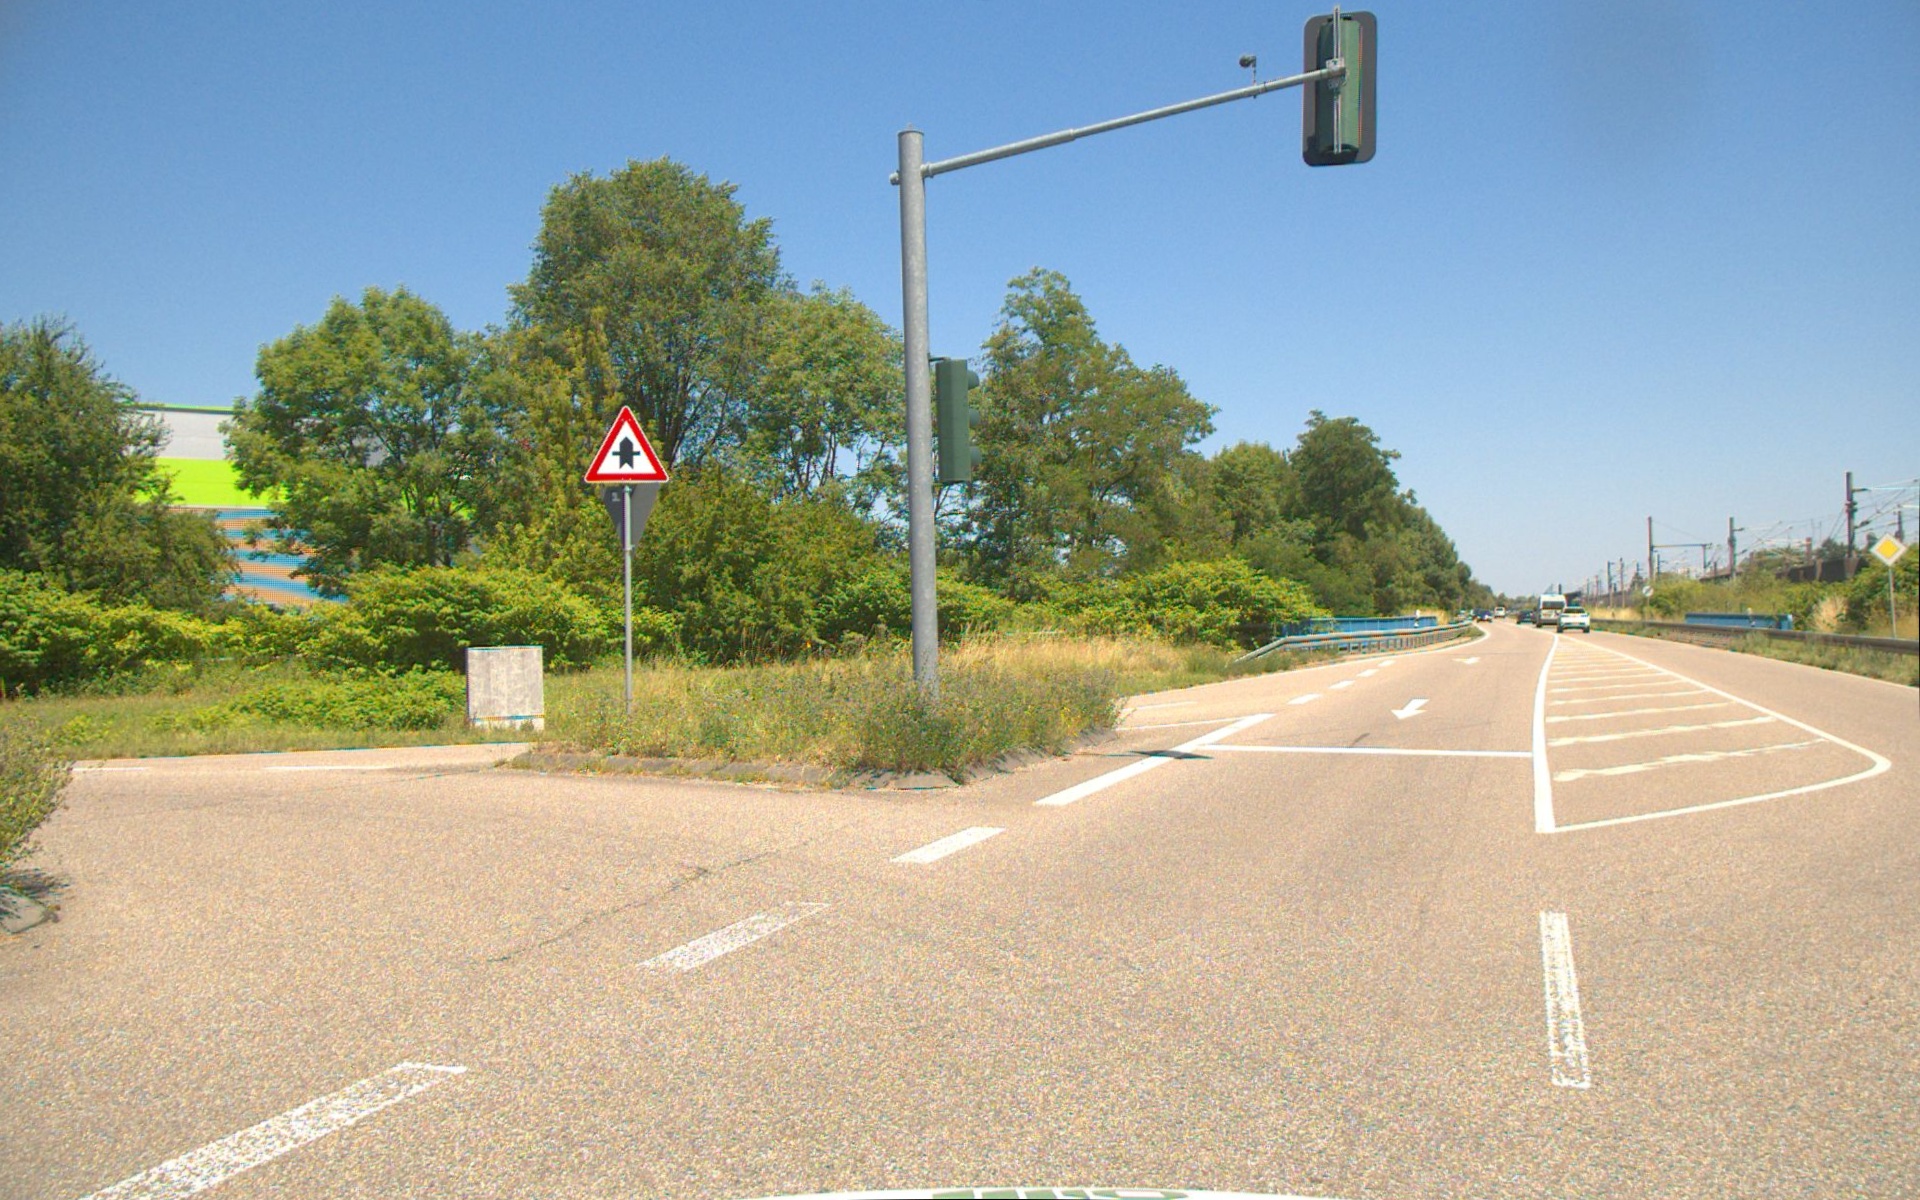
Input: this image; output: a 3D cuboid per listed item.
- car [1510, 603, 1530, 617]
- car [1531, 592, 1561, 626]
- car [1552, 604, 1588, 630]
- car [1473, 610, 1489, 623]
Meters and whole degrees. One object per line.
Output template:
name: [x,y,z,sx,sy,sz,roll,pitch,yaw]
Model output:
car: [57.587,1.035,170.167,1.817,1.404,4.505,0,0,17]
car: [46.411,0.709,131.103,2.142,2.649,6.753,0,0,19]
car: [37.353,1.038,101.299,1.779,1.591,4.281,0,0,17]
car: [60.761,1.918,192.830,1.817,1.404,4.505,0,0,18]
